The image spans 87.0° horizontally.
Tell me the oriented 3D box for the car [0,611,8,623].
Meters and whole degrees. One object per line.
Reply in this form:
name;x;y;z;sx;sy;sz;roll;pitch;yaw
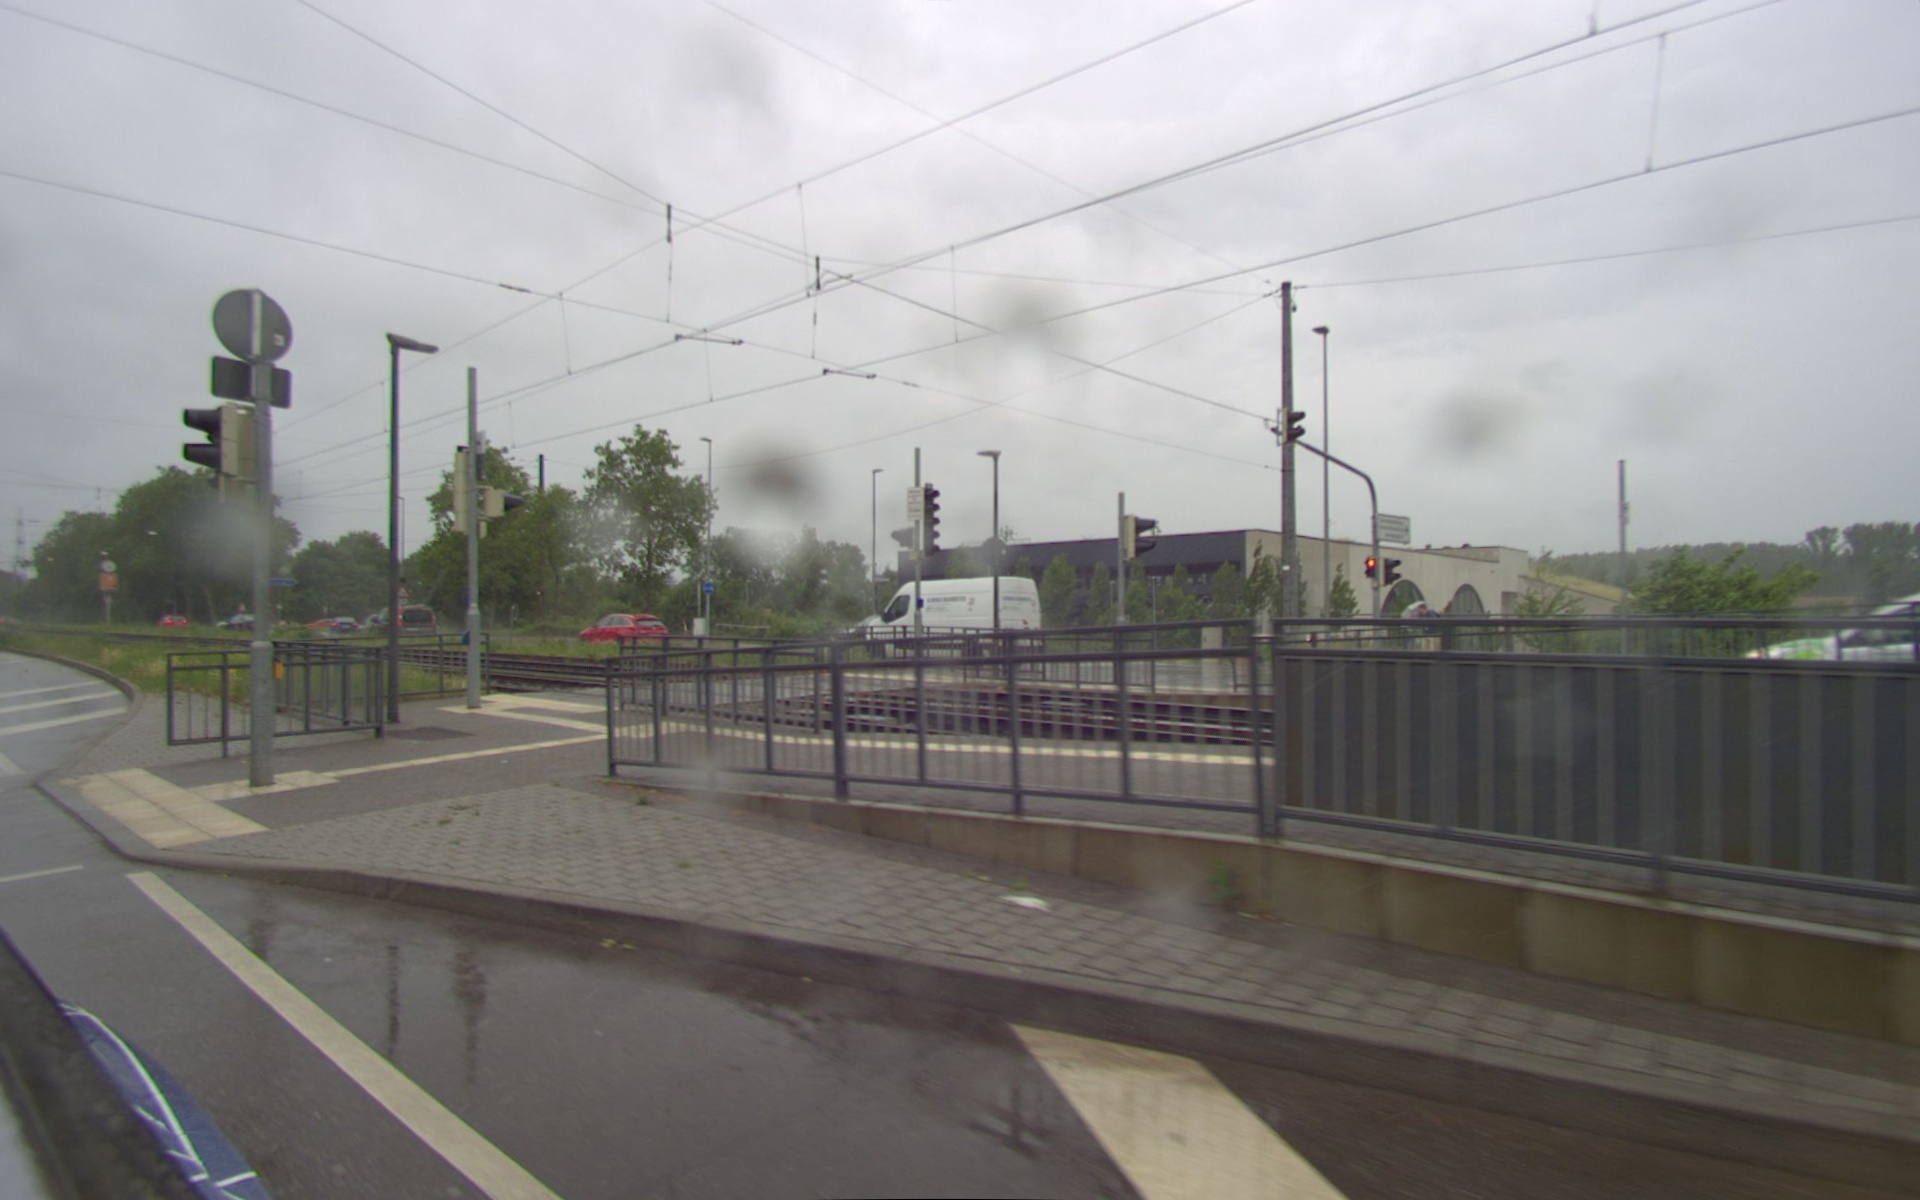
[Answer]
car;-154.524;2.735;162.386;4.515;2.029;1.951;-1;0;39

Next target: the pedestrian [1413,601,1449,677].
pedestrian;12.909;1.054;27.738;0.696;2.029;0.691;-1;-1;42

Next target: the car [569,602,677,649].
car;-13.244;0.953;39.623;4.623;1.719;1.972;-1;0;42

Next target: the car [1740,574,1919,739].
car;12.885;0.671;12.742;4.751;2.029;1.973;-1;0;41

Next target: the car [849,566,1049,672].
car;-0.416;0.514;28.710;5.736;2.733;2.097;-1;0;42

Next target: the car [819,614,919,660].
car;-4.020;1.579;44.764;3.931;1.874;2.006;-1;0;-28

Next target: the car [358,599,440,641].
car;-25.776;0.894;46.450;4.256;1.785;1.972;-1;0;42

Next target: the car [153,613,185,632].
car;-69.510;1.947;88.920;3.618;1.601;1.585;0;0;42

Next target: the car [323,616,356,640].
car;-47.301;2.134;77.225;1.966;1.694;4.553;0;0;-30

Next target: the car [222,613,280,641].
car;-44.275;1.687;63.144;4.380;1.608;1.972;-1;-4;42
